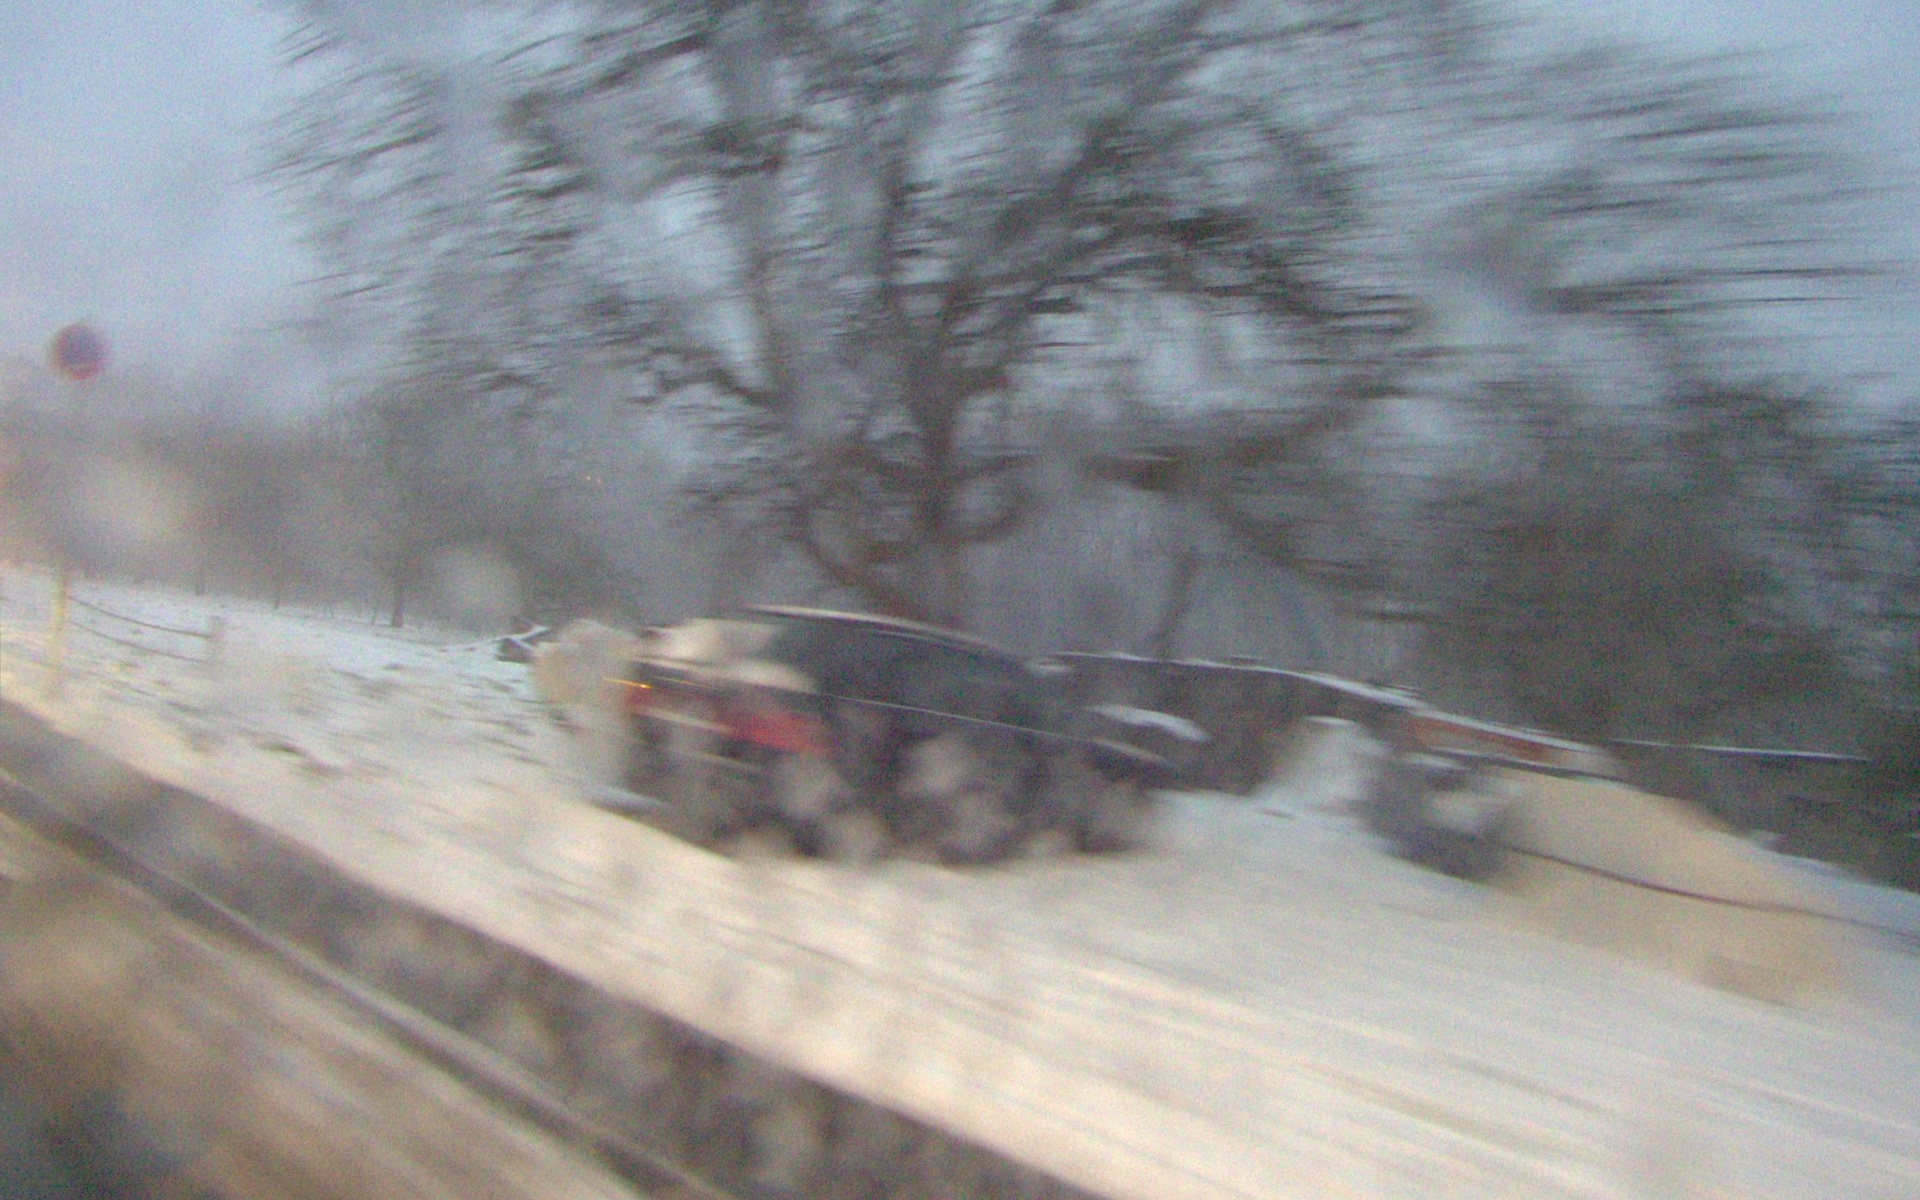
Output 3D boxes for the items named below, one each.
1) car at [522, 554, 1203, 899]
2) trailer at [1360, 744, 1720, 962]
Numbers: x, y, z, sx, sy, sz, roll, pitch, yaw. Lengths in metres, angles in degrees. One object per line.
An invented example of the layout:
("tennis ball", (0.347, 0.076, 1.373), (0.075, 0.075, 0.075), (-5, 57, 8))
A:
("car", (-0.228, 0.902, 6.750), (2.004, 1.395, 4.463), (6, -7, 35))
("trailer", (5.072, 2.052, 9.137), (2.207, 1.103, 3.883), (6, -4, 28))
